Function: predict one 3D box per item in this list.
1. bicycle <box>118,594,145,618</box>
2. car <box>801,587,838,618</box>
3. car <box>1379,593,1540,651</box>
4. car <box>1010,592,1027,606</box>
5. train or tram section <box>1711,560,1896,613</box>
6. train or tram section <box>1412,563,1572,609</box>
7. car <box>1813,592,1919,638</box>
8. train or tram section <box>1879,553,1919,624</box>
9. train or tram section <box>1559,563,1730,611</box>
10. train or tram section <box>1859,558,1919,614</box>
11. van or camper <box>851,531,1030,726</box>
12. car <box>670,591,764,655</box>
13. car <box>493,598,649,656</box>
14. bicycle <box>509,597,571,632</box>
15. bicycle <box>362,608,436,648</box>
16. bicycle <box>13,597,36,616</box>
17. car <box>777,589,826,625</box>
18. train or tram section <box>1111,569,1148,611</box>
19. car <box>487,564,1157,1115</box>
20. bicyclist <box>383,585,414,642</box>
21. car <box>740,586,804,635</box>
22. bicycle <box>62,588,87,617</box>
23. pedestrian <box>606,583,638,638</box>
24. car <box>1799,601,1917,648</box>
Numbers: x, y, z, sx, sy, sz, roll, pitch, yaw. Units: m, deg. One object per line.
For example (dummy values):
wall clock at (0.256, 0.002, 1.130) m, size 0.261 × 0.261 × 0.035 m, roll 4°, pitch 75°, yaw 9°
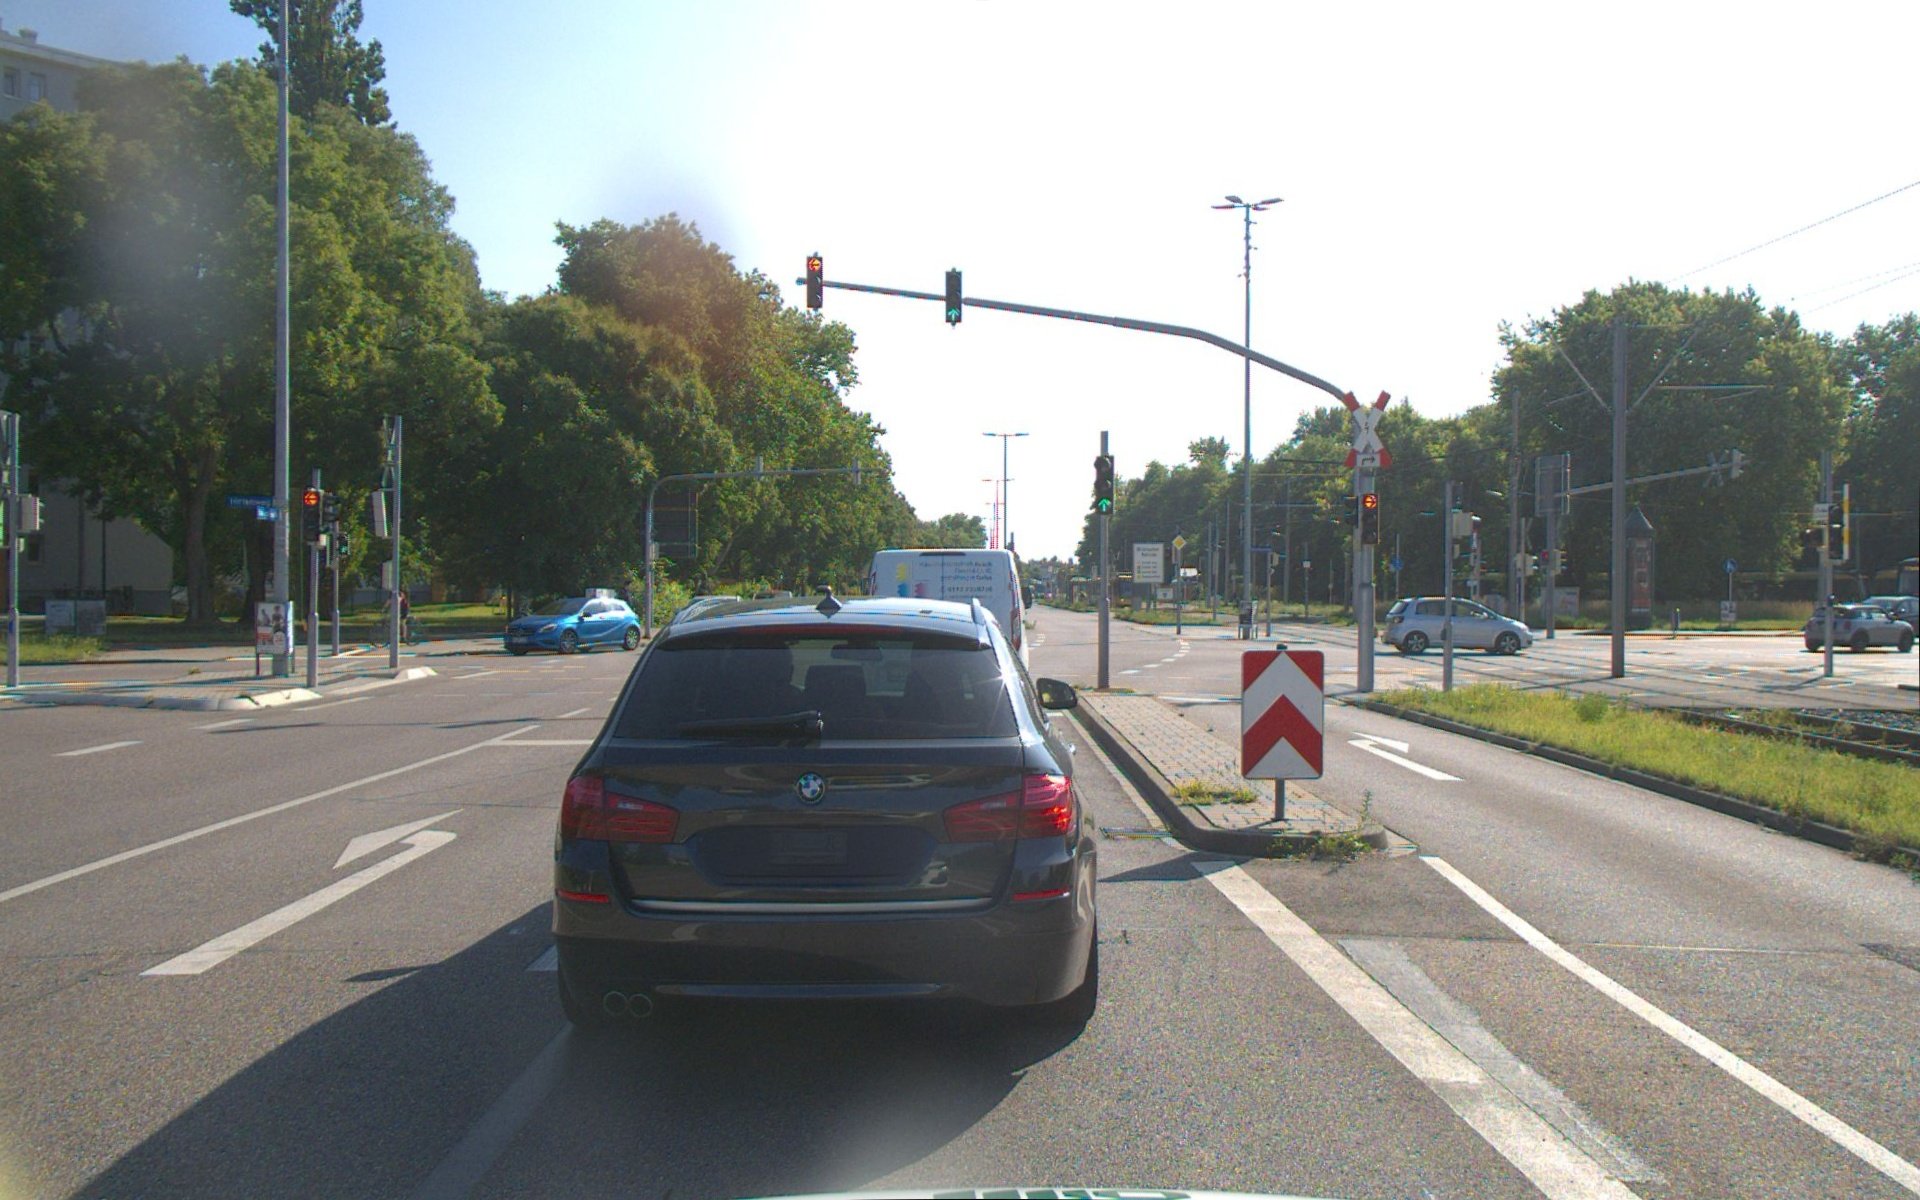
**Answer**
bicycle at (-33.476, 0.221, 66.816) m, size 0.663 × 0.936 × 2.377 m, roll 0°, pitch 1°, yaw -35°
car at (-7.234, 0.109, 85.514) m, size 1.753 × 1.546 × 3.998 m, roll -1°, pitch 0°, yaw -3°
car at (14.168, 0.602, 47.119) m, size 4.102 × 1.590 × 1.857 m, roll 0°, pitch 0°, yaw 5°
car at (6.457, -0.150, 182.495) m, size 1.756 × 1.512 × 3.900 m, roll 0°, pitch 0°, yaw 1°
train or tram section at (60.923, -0.941, 119.889) m, size 3.017 × 3.642 × 12.087 m, roll 0°, pitch 0°, yaw -34°
train or tram section at (43.519, -1.125, 135.490) m, size 12.170 × 3.642 × 3.048 m, roll 0°, pitch 0°, yaw 31°
car at (32.829, 0.510, 58.949) m, size 4.792 × 1.590 × 2.025 m, roll 0°, pitch 0°, yaw -29°
train or tram section at (53.149, -0.602, 87.888) m, size 11.721 × 3.642 × 3.015 m, roll 0°, pitch 0°, yaw -37°
train or tram section at (53.280, -1.029, 128.979) m, size 11.984 × 3.642 × 3.043 m, roll 0°, pitch 0°, yaw 36°
train or tram section at (63.740, -0.917, 108.489) m, size 2.981 × 3.642 × 12.231 m, roll 0°, pitch 0°, yaw 0°
van or camper at (-0.183, 0.302, 20.433) m, size 1.952 × 2.133 × 4.599 m, roll 0°, pitch 0°, yaw 1°
car at (-6.166, 0.555, 42.439) m, size 1.667 × 1.490 × 4.370 m, roll -1°, pitch 0°, yaw 1°
car at (-10.164, 0.666, 43.526) m, size 1.744 × 1.439 × 4.242 m, roll 0°, pitch 0°, yaw 25°
bicycle at (-13.813, 0.484, 54.440) m, size 1.870 × 1.138 × 0.632 m, roll 0°, pitch 0°, yaw -1°
bicycle at (-15.737, 0.777, 46.442) m, size 0.608 × 1.058 × 2.066 m, roll 0°, pitch 0°, yaw 33°
bicycle at (-36.607, 0.257, 64.698) m, size 0.578 × 0.721 × 2.211 m, roll 0°, pitch 1°, yaw -35°
car at (-6.748, 0.281, 70.567) m, size 1.851 × 1.499 × 4.098 m, roll -1°, pitch 0°, yaw -3°
train or tram section at (15.574, -0.826, 152.972) m, size 2.738 × 3.681 × 12.960 m, roll 1°, pitch 0°, yaw 3°
car at (-0.404, 0.658, 6.655) m, size 1.864 × 1.532 × 4.064 m, roll 0°, pitch 0°, yaw -1°
bicyclist at (-15.756, 0.381, 46.399) m, size 0.596 × 1.587 × 0.601 m, roll 0°, pitch 0°, yaw 33°
car at (-6.516, 0.351, 57.612) m, size 1.709 × 1.589 × 4.000 m, roll -2°, pitch 0°, yaw 0°
bicycle at (-35.040, 0.111, 65.454) m, size 0.606 × 1.085 × 1.892 m, roll 1°, pitch -2°, yaw -37°
pedestrian at (-11.116, 0.338, 54.453) m, size 0.798 × 1.782 × 0.932 m, roll 0°, pitch 0°, yaw 5°
car at (27.767, 0.735, 51.152) m, size 3.478 × 1.408 × 1.592 m, roll 0°, pitch 0°, yaw -28°
